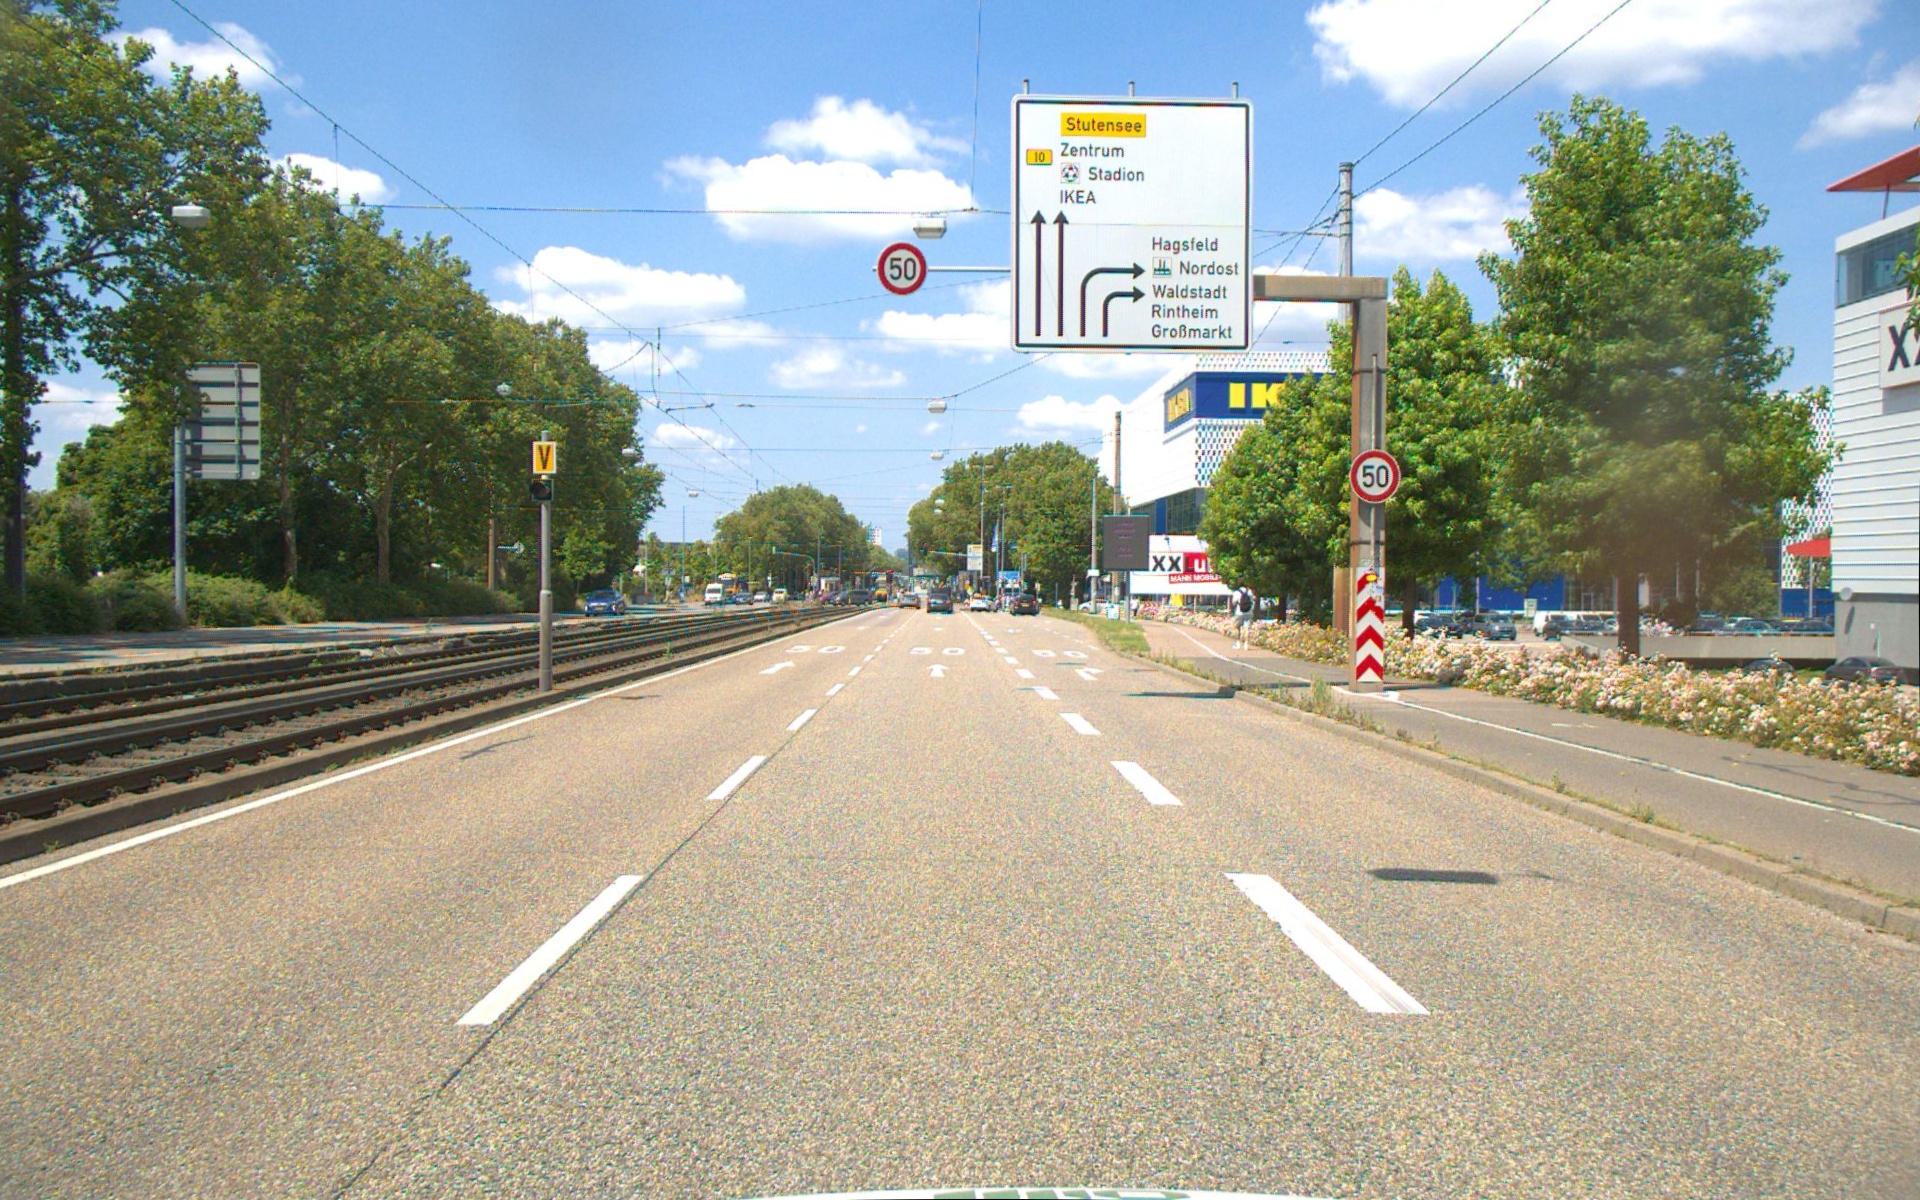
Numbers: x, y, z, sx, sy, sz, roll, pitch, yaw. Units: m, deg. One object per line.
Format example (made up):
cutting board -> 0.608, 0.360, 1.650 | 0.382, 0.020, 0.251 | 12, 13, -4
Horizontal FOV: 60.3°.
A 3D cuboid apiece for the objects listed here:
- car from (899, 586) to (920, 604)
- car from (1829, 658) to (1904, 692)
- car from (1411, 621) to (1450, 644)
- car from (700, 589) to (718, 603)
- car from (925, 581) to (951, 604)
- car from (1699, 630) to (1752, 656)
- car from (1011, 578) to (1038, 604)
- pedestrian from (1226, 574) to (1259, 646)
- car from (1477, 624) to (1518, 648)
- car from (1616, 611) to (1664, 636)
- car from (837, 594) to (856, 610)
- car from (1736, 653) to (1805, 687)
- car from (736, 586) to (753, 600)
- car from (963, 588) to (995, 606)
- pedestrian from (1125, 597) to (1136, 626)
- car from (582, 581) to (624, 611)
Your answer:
car -> -4.706, -0.508, 154.189 | 1.805, 1.576, 3.775 | 2, 1, -2
car -> 47.769, 3.915, 87.239 | 1.705, 1.508, 3.963 | 2, 1, 0
car -> 34.478, 2.375, 121.274 | 1.539, 1.508, 3.887 | 2, 1, -3
car -> -29.810, -0.519, 196.514 | 1.590, 1.576, 3.703 | 2, 1, -1
car -> -1.633, -0.548, 121.112 | 1.838, 1.566, 3.776 | 2, 1, -2
car -> 51.158, 2.853, 110.613 | 1.539, 1.508, 3.887 | 2, 1, -3
car -> 4.838, -0.669, 124.679 | 1.861, 1.837, 3.976 | 2, 1, 0
pedestrian -> 7.330, 0.248, 42.979 | 0.655, 1.823, 0.925 | 2, 0, 1
car -> 39.000, 2.594, 120.171 | 1.539, 1.508, 3.887 | 2, 1, -3
car -> 46.079, 1.573, 112.145 | 1.539, 1.508, 3.887 | 2, 1, -3
car -> -11.759, 0.212, 171.071 | 1.805, 1.576, 3.775 | 2, 1, -2
car -> 43.288, 3.719, 88.398 | 1.705, 1.508, 3.963 | 2, 1, 0
car -> -25.837, -0.812, 198.367 | 1.590, 1.576, 3.703 | 2, 1, -1
car -> 1.768, -0.271, 152.314 | 1.651, 1.576, 3.984 | 2, 1, 21
pedestrian -> 10.988, 0.745, 106.695 | 0.568, 1.823, 0.589 | 2, 0, -3
car -> -20.092, -0.234, 93.190 | 1.612, 1.577, 4.214 | 2, 1, -3
